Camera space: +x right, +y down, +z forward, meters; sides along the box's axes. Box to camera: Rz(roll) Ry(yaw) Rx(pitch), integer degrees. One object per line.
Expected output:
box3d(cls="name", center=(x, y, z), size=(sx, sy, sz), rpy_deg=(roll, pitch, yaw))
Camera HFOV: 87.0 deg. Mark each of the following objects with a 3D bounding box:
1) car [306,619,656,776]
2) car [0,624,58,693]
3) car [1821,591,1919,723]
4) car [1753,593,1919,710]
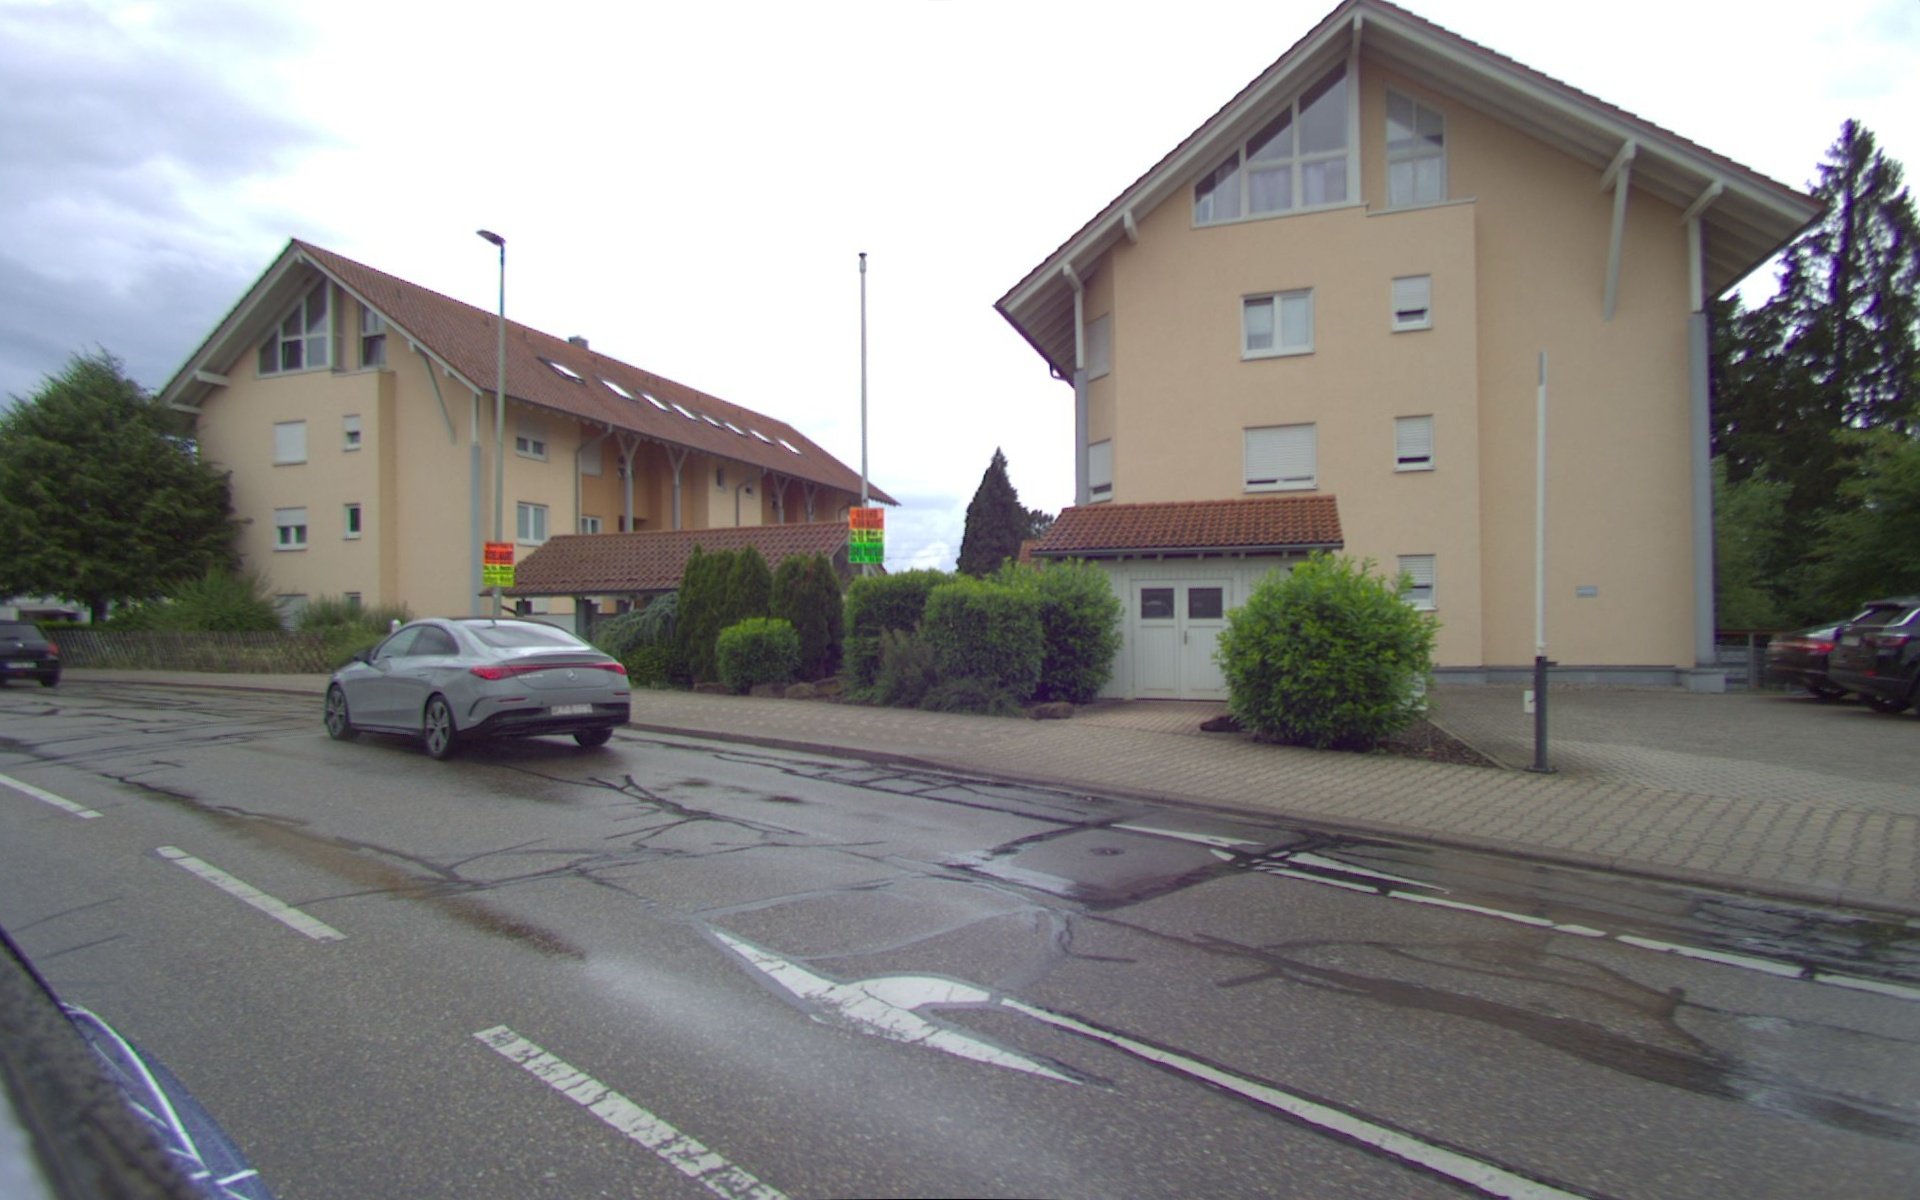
box3d(cls="car", center=(-5.499, 0.934, 11.345), size=(4.486, 1.401, 1.882), rpy_deg=(-1, -1, 40))
box3d(cls="car", center=(-21.670, 1.292, 22.270), size=(3.678, 1.433, 1.577), rpy_deg=(-2, -1, 29))
box3d(cls="car", center=(13.968, 0.759, 12.999), size=(3.976, 1.663, 1.984), rpy_deg=(1, 0, 25))
box3d(cls="car", center=(14.847, 0.774, 15.378), size=(3.975, 1.663, 1.984), rpy_deg=(1, 0, 24))
